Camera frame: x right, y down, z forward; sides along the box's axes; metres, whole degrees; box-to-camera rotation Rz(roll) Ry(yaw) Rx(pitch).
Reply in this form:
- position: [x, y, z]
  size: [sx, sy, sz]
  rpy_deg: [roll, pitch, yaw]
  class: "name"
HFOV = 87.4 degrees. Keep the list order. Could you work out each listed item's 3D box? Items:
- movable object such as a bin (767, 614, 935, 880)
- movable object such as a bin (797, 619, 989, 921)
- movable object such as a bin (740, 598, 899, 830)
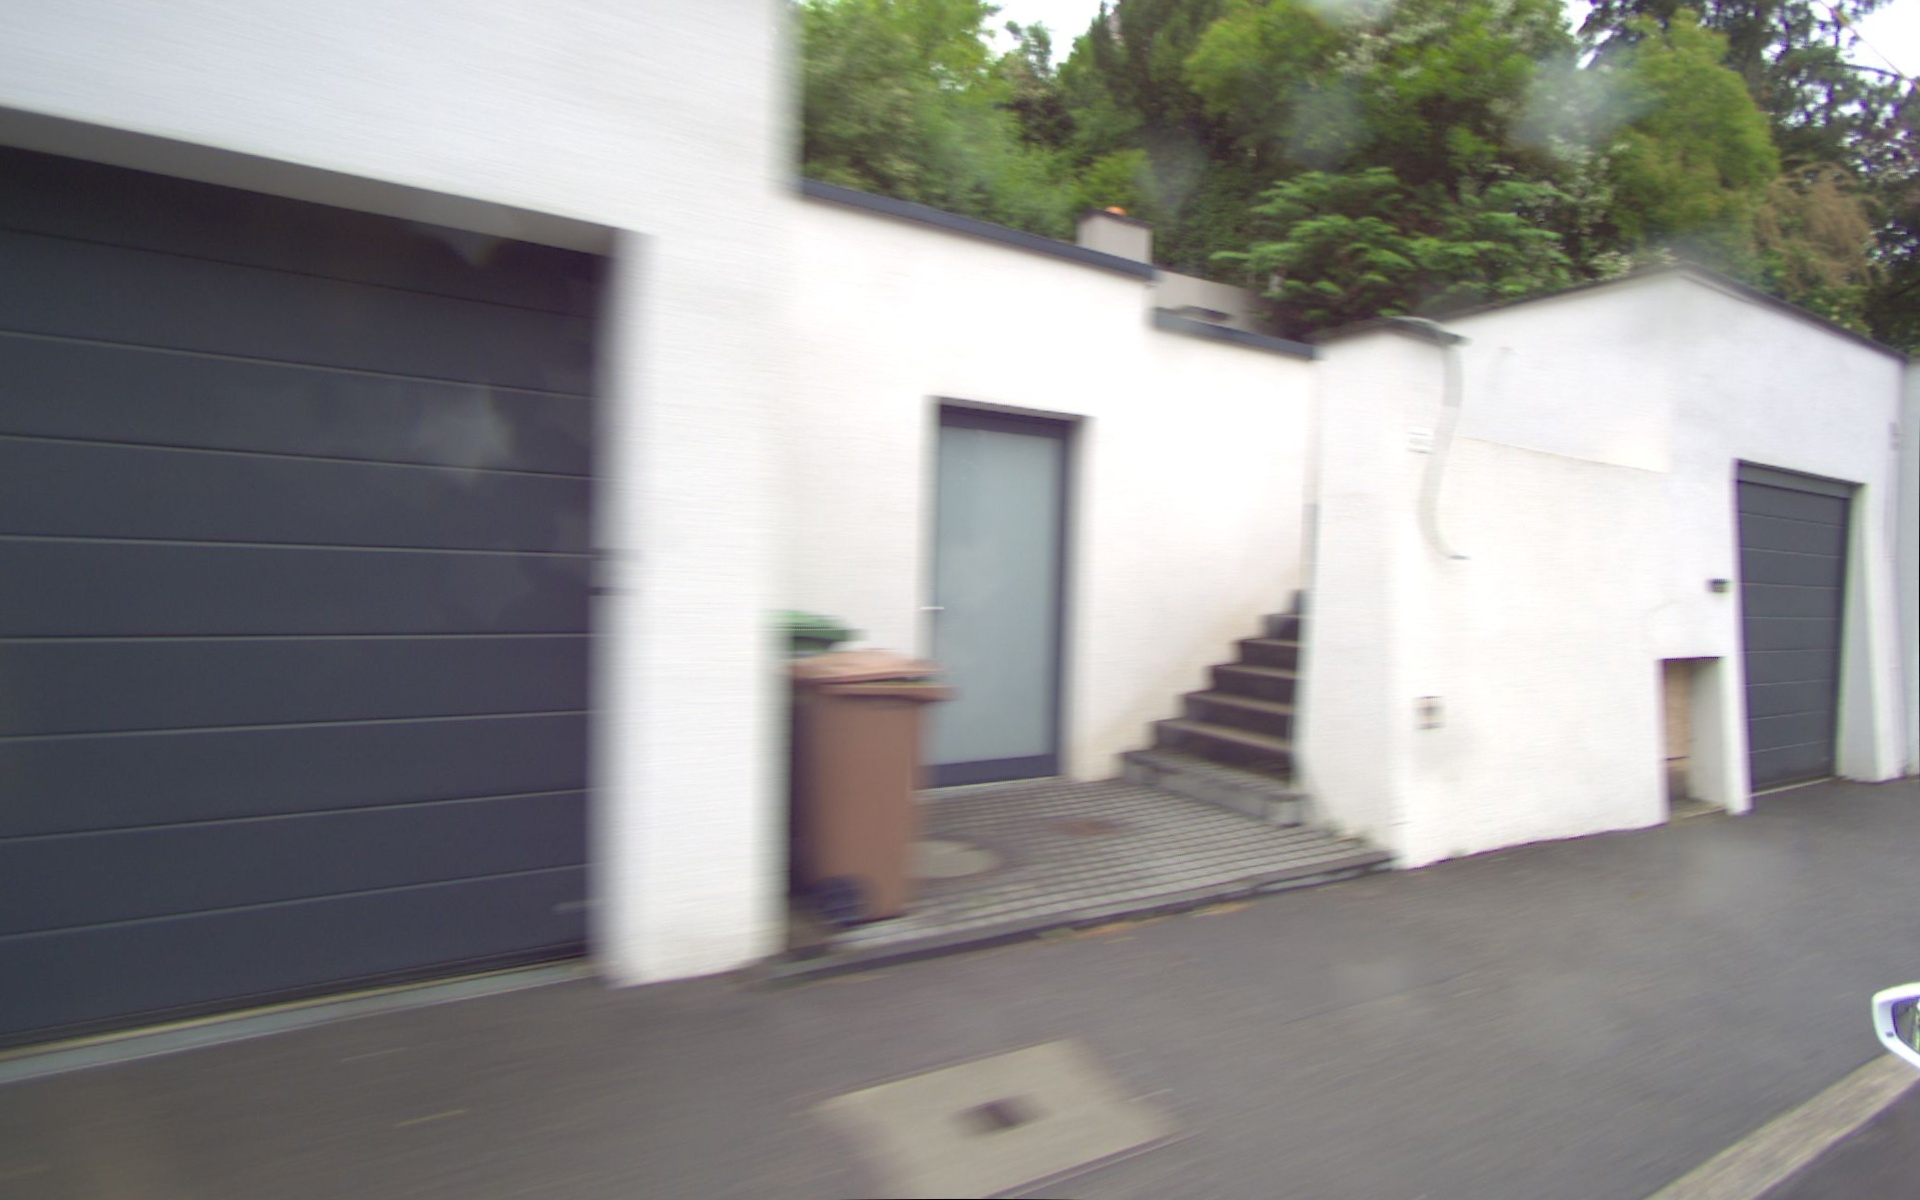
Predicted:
- position: [-0.482, 0.602, 4.364]
  size: [0.517, 1.035, 0.501]
  rpy_deg: [2, 2, -32]
  class: "movable object such as a bin"
- position: [-0.268, 0.613, 3.883]
  size: [0.517, 1.035, 0.501]
  rpy_deg: [2, 2, -32]
  class: "movable object such as a bin"
- position: [-0.697, 0.529, 4.938]
  size: [0.580, 1.035, 0.501]
  rpy_deg: [2, 2, -32]
  class: "movable object such as a bin"
